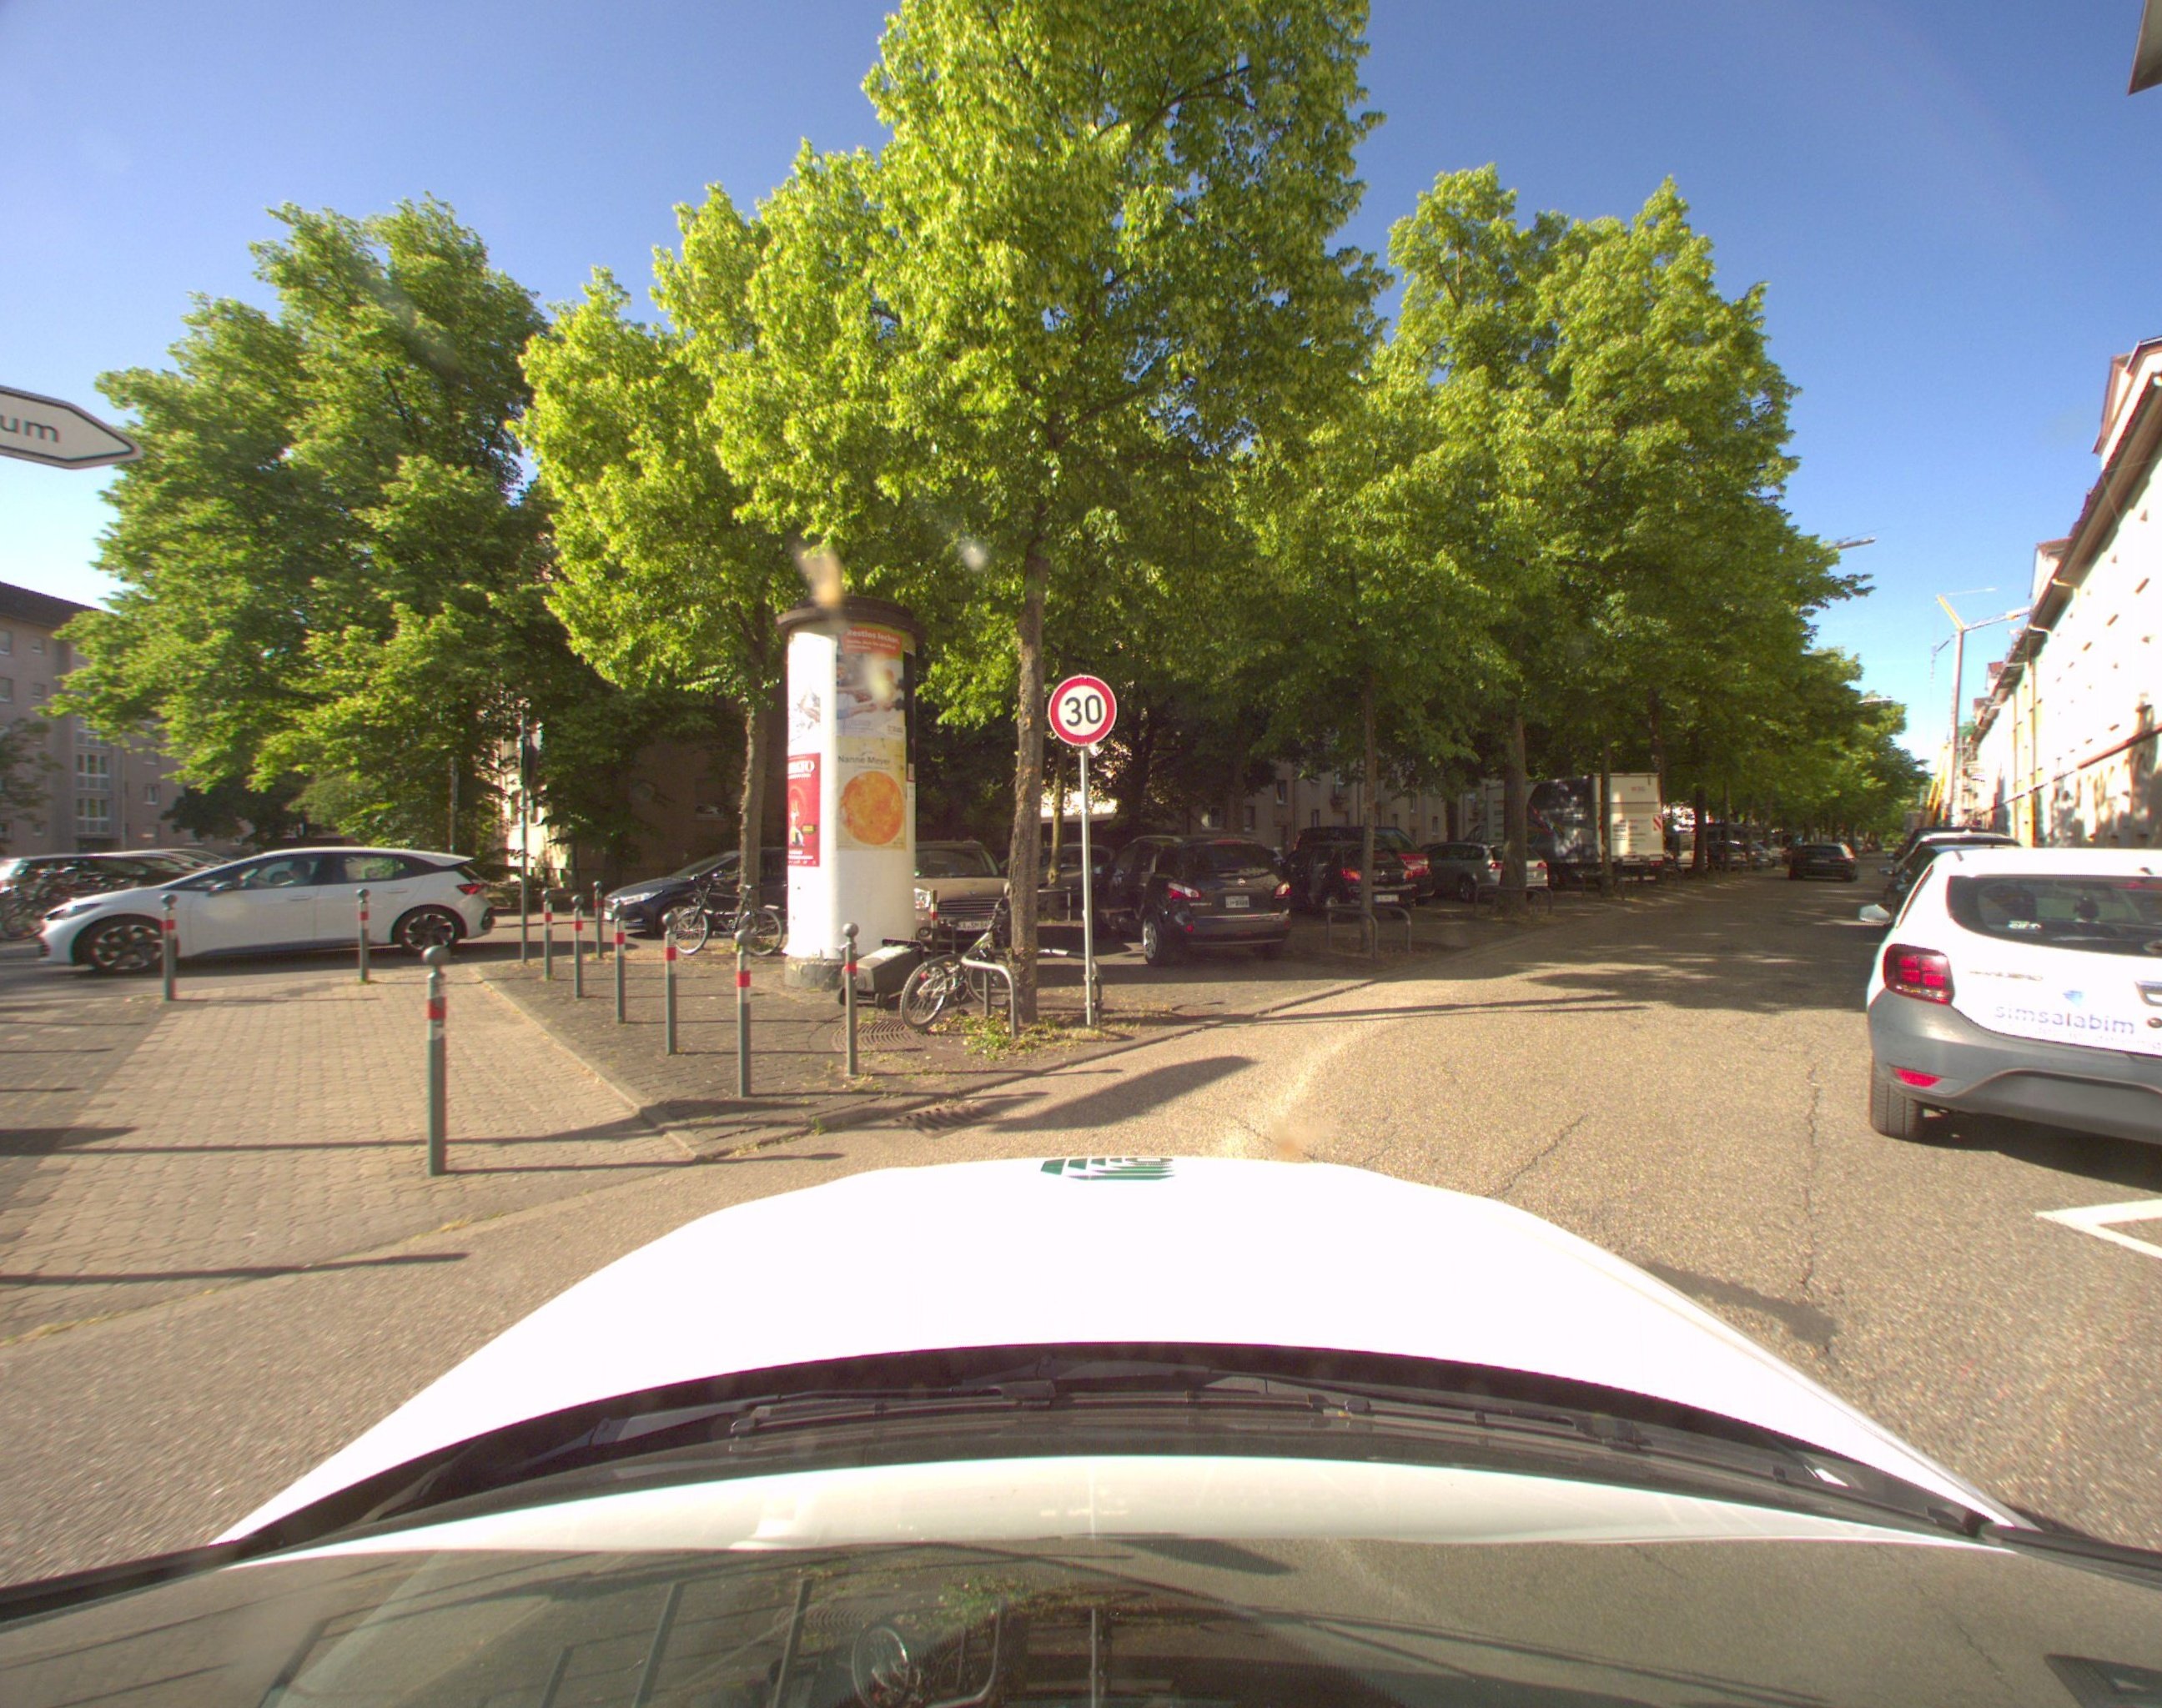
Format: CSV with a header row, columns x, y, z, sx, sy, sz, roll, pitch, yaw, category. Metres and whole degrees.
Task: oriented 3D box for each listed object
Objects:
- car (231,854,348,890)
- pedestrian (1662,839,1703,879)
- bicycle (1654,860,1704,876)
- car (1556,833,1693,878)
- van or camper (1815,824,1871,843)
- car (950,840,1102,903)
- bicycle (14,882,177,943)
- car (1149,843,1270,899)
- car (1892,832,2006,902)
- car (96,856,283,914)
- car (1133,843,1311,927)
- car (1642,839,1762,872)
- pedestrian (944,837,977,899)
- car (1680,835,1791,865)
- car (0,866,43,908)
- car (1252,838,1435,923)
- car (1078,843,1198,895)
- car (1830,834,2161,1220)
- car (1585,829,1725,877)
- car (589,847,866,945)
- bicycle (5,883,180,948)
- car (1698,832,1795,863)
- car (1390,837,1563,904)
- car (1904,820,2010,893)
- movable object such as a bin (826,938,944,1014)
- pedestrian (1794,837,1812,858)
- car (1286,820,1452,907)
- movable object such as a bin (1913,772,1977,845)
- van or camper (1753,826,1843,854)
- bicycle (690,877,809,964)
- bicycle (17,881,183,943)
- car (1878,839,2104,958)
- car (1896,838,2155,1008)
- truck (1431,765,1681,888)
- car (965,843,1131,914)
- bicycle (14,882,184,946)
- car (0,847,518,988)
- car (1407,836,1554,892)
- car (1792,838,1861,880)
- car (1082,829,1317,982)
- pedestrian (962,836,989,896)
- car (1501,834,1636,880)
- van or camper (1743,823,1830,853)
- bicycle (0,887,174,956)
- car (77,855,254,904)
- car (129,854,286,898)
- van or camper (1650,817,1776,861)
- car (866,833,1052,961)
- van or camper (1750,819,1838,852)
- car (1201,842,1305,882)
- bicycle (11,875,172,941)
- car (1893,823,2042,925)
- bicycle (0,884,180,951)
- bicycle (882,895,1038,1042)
x,y,z,sx,sy,sz,roll,pitch,yaw,category
-35.790,0.794,36.962,3.610,1.481,1.603,-1,1,-38,car
21.488,0.174,29.105,0.926,1.396,0.750,-1,0,-12,pedestrian
21.729,0.497,29.637,0.408,0.558,1.607,-1,1,-12,bicycle
19.512,0.000,29.449,1.729,1.506,4.092,0,1,-12,car
105.014,-2.770,112.320,2.287,2.474,5.329,-1,0,-11,van or camper
-1.487,0.434,23.408,1.738,1.640,4.272,0,1,44,car
-19.707,1.138,16.346,0.442,1.031,2.047,-1,1,38,bicycle
3.843,0.443,23.918,1.737,1.486,3.974,0,1,39,car
20.864,0.240,19.690,4.263,1.500,1.746,-1,1,-45,car
-25.697,0.841,23.598,1.602,1.481,3.275,-1,1,22,car
2.633,0.511,16.153,1.821,1.422,3.924,-1,1,-19,car
29.167,0.048,38.443,1.783,1.455,4.472,-1,1,-12,car
-3.430,0.383,23.182,0.733,1.735,0.543,-1,0,42,pedestrian
33.659,-0.204,42.060,1.711,1.461,4.407,0,1,-11,car
-41.090,1.239,30.871,1.694,1.508,3.551,-1,1,-45,car
5.152,0.452,16.539,1.759,1.481,3.804,-1,1,-15,car
1.951,0.442,26.951,3.971,1.569,1.738,-1,1,-43,car
5.658,0.654,4.665,4.045,1.497,1.704,-1,1,-43,car
24.166,-0.087,34.503,2.080,1.864,4.496,0,1,-18,car
-6.438,0.651,15.151,4.325,1.518,1.886,-1,1,-44,car
-18.436,1.109,15.257,0.463,1.031,2.047,-1,1,38,bicycle
38.153,-0.388,46.818,1.756,1.679,4.127,-1,1,-15,car
9.880,0.341,20.771,1.808,1.507,4.329,-1,1,-10,car
25.291,0.024,23.607,4.873,1.900,1.931,-1,1,-44,car
-1.959,1.208,8.251,0.570,0.565,1.120,-1,0,26,movable object such as a bin
48.865,-0.445,55.109,0.596,1.456,0.707,-1,0,-21,pedestrian
6.921,0.179,20.149,1.929,1.873,4.488,-1,1,-10,car
81.741,-4.245,77.115,2.362,6.759,3.477,0,1,-11,movable object such as a bin
62.618,-1.181,71.262,2.220,2.275,5.479,-1,0,-20,van or camper
-4.646,0.901,11.511,0.349,1.072,1.603,-1,0,36,bicycle
-19.218,1.108,16.016,0.442,1.031,2.047,-1,1,38,bicycle
13.519,0.523,12.380,1.785,1.463,4.468,0,1,42,car
10.100,0.575,8.896,3.693,1.463,1.582,-1,1,-43,car
14.412,-0.764,25.571,2.541,3.293,7.295,-1,0,-12,truck
-0.688,0.505,19.437,1.737,1.486,3.974,0,1,39,car
-18.769,1.113,15.623,0.442,1.031,2.047,-1,1,38,bicycle
-10.931,0.702,11.272,5.061,1.518,1.902,-1,1,-38,car
11.828,0.238,24.481,1.808,1.507,4.329,-1,1,-10,car
28.550,0.148,31.143,1.780,1.503,3.607,-1,0,45,car
1.407,0.518,11.534,1.834,1.671,4.318,-1,2,-14,car
-3.117,0.351,24.077,0.740,1.735,0.538,-1,0,-11,pedestrian
16.825,0.061,28.341,1.844,1.502,3.984,0,1,-12,car
64.890,-1.400,75.078,2.251,2.637,5.859,-1,0,-14,van or camper
-17.552,1.153,14.351,0.563,1.031,2.047,-1,1,38,bicycle
-30.636,0.807,27.387,1.602,1.481,3.612,-1,1,22,car
-32.294,0.766,30.240,1.602,1.481,3.612,-1,1,22,car
45.164,-1.041,58.503,2.311,2.929,7.209,-1,0,-16,van or camper
-2.053,0.541,12.570,1.924,1.610,3.970,-1,0,-22,car
73.973,-1.867,84.652,2.492,3.240,6.644,-1,0,-15,van or camper
6.682,0.265,31.416,4.368,1.435,1.748,-1,1,-44,car
-20.267,1.063,16.736,0.659,1.177,2.047,-1,1,38,bicycle
17.393,0.303,16.166,1.746,1.753,4.537,0,1,44,car
-18.026,1.125,14.879,0.563,1.031,2.047,-1,1,38,bicycle
-1.024,0.955,7.259,0.349,1.072,1.603,-1,0,36,bicycle
